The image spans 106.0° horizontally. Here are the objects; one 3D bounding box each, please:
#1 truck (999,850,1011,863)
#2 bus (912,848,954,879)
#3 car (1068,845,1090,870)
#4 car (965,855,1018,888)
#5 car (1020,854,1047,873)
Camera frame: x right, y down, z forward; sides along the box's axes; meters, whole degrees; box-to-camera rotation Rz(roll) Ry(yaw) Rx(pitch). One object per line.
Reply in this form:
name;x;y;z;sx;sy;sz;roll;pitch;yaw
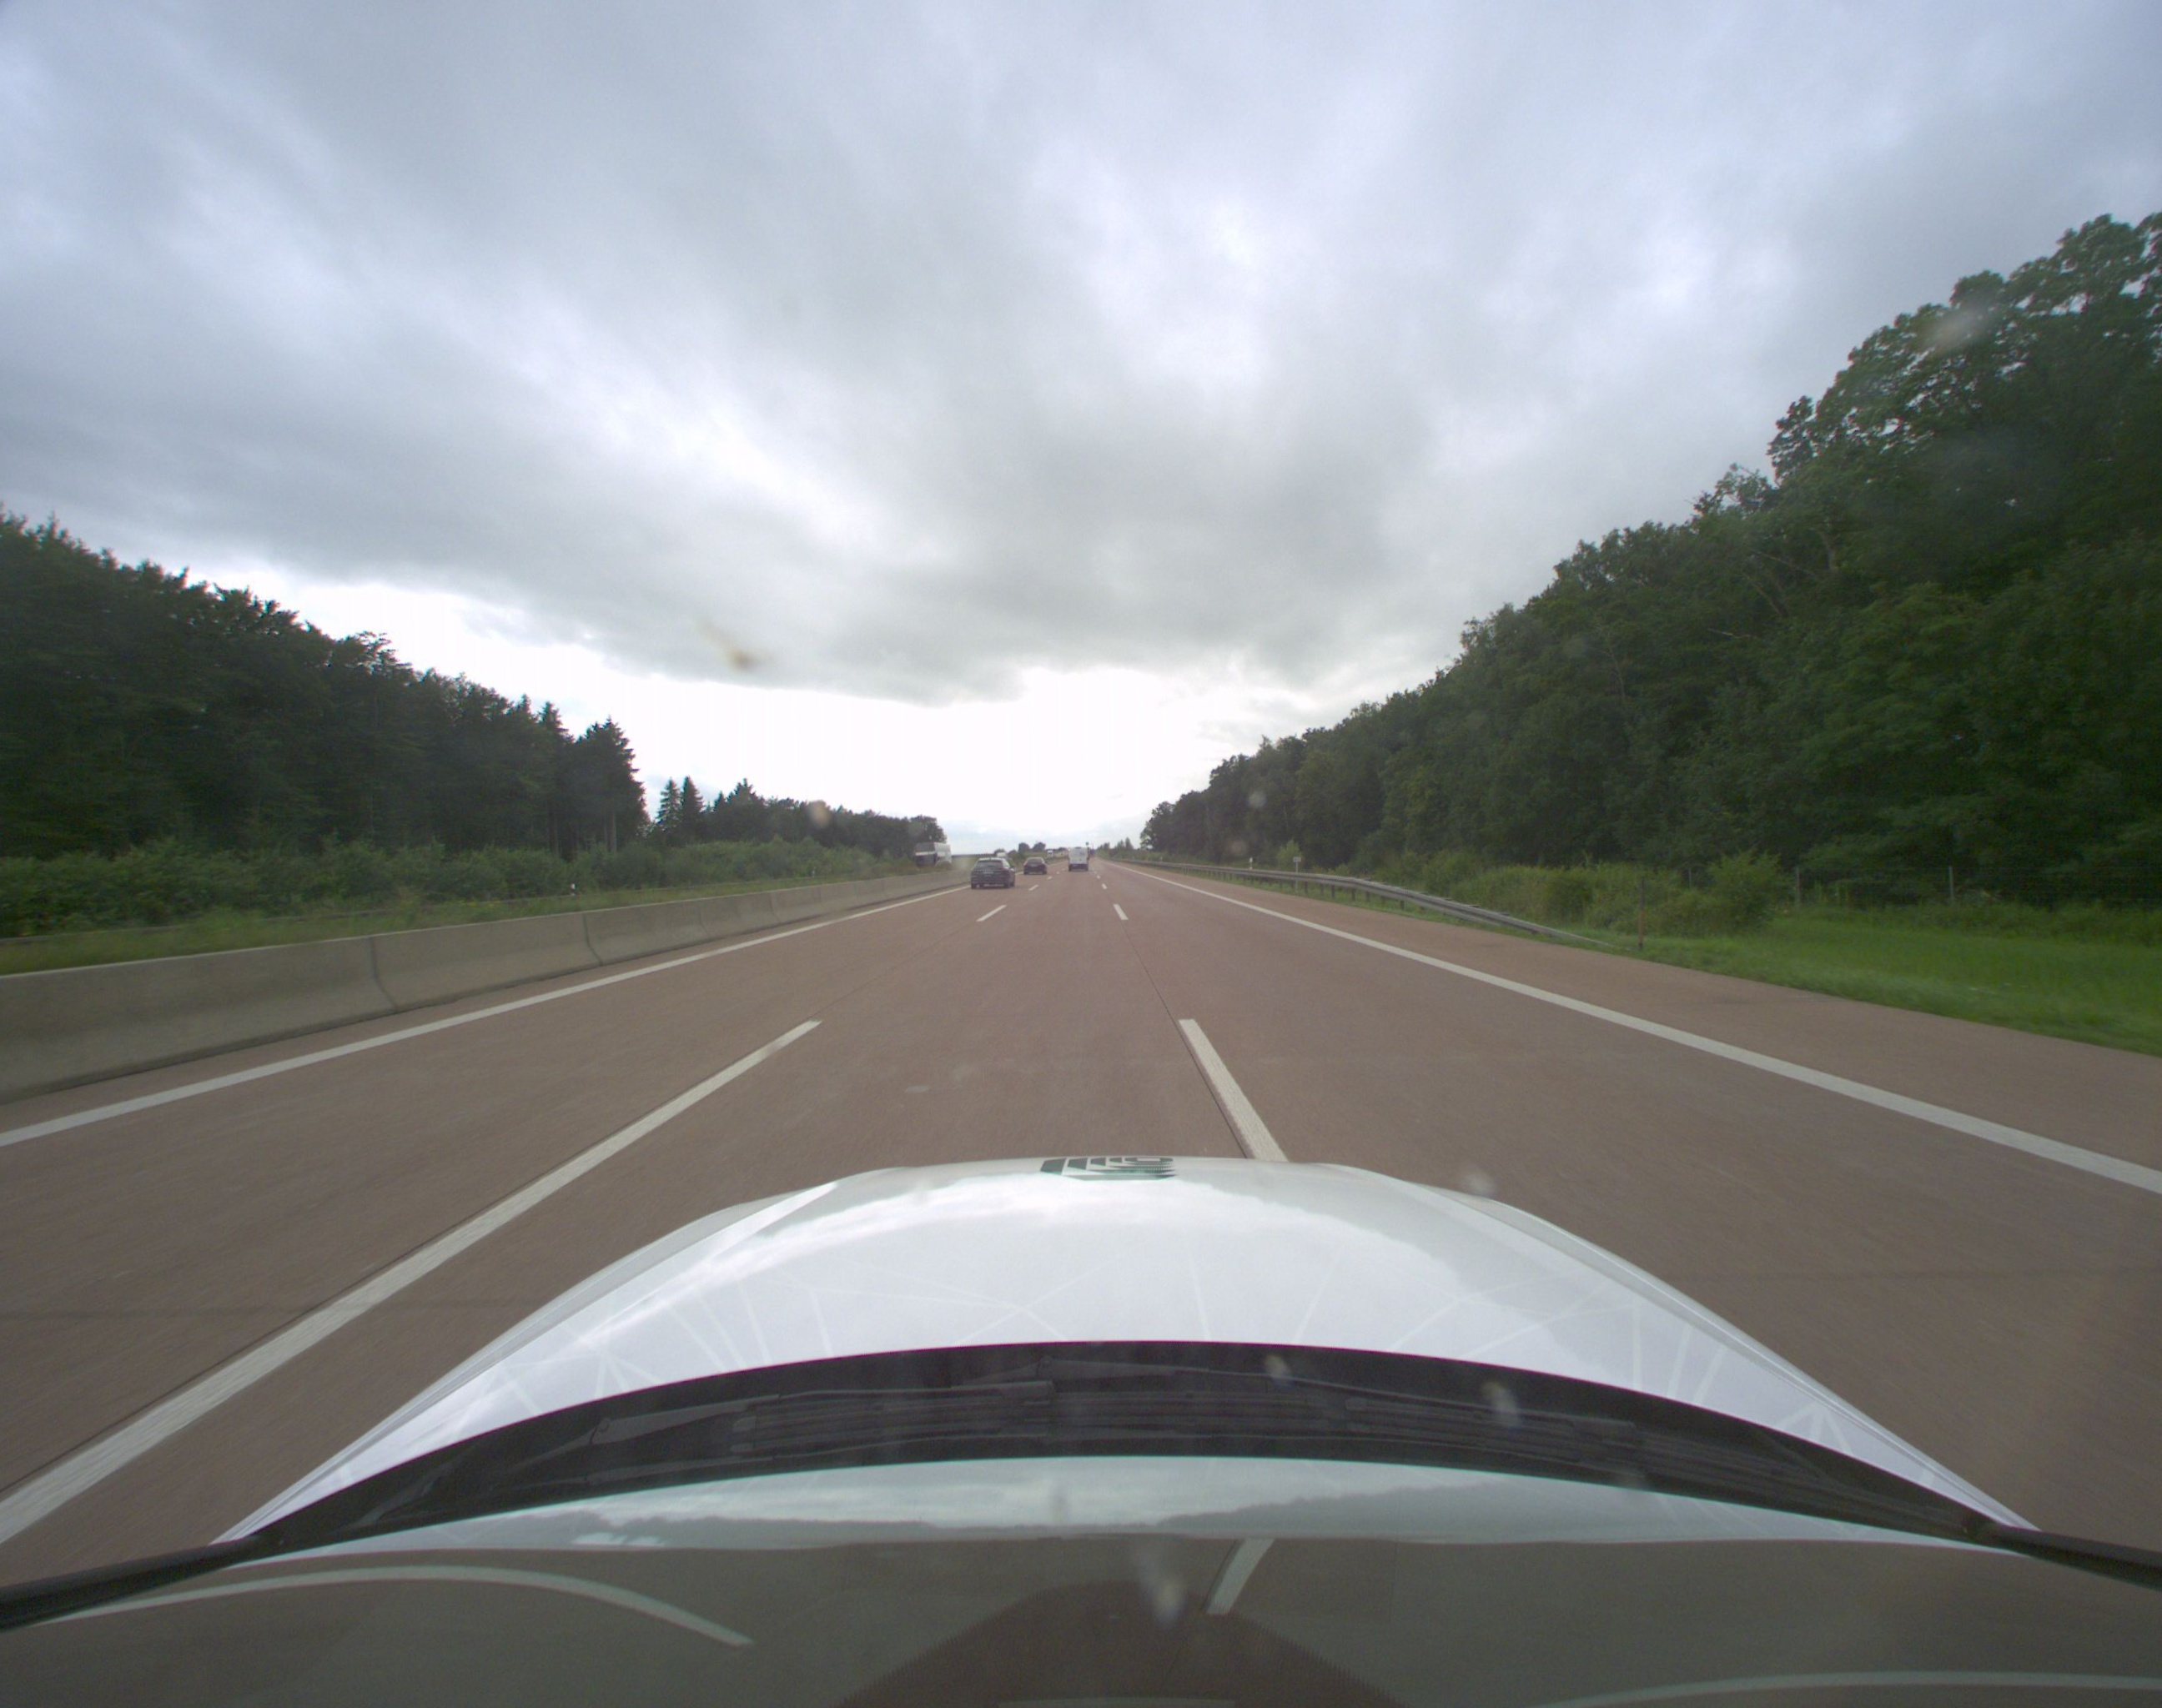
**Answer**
truck;-18.956;0.562;203.066;2.349;3.099;7.481;1;0;0
bus;-19.787;1.201;109.995;3.039;3.888;14.357;-1;0;0
car;-0.145;0.341;85.242;2.130;2.507;7.132;-1;0;1
car;-4.419;0.844;41.185;2.052;1.491;5.452;-1;0;0
car;-4.085;0.794;71.036;2.078;1.550;5.673;0;0;0
